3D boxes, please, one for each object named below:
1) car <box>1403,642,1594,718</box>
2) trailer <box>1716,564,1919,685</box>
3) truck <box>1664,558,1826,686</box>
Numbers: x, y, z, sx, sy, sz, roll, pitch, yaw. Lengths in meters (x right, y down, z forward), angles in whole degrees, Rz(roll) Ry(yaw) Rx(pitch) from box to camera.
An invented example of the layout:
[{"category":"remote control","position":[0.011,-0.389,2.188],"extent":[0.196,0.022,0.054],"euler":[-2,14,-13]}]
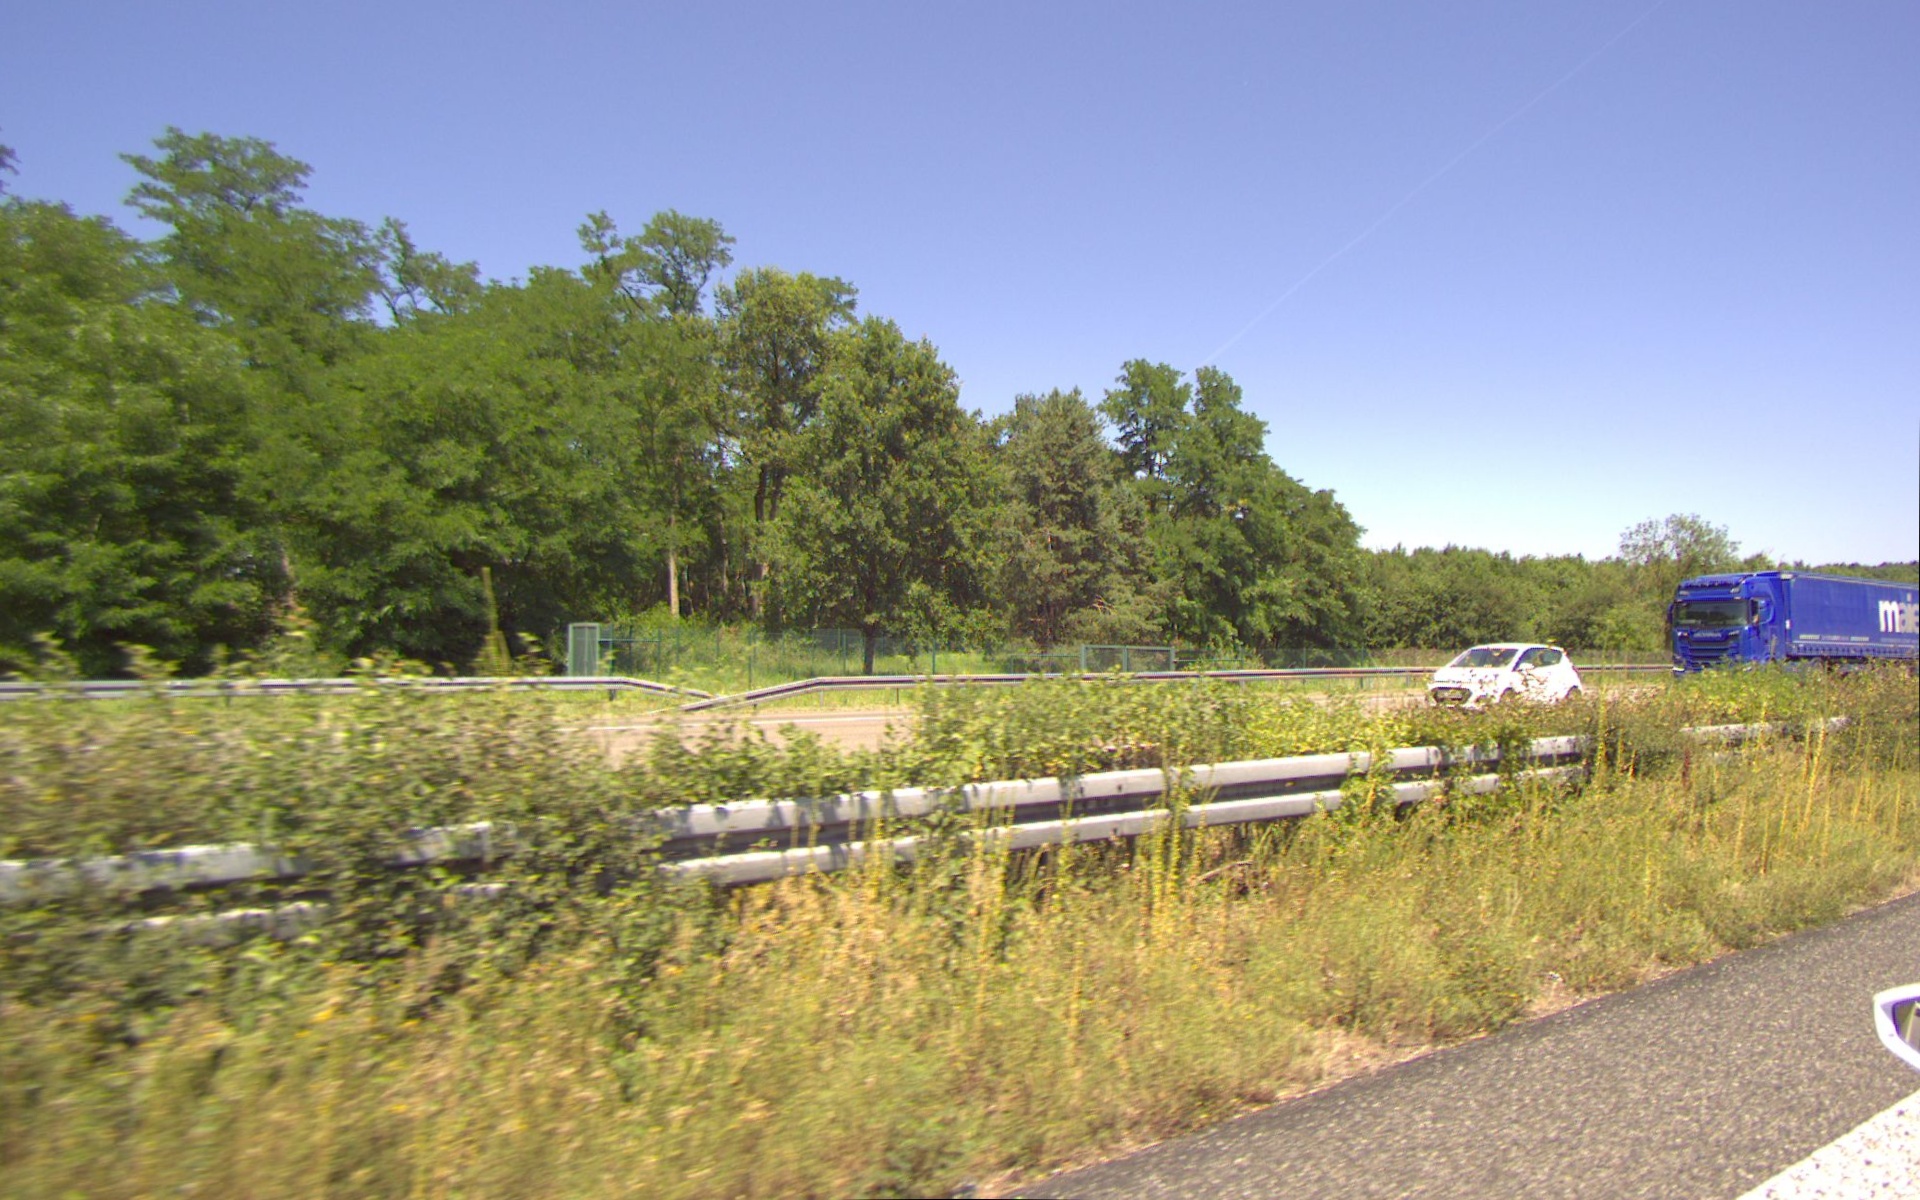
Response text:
[{"category":"car","position":[11.488,1.641,21.387],"extent":[3.953,1.468,1.799],"euler":[2,-2,-30]},{"category":"trailer","position":[34.247,1.080,39.339],"extent":[13.311,4.185,2.461],"euler":[2,-4,-31]},{"category":"truck","position":[27.729,0.862,35.450],"extent":[5.617,4.187,2.456],"euler":[1,-4,-30]}]
